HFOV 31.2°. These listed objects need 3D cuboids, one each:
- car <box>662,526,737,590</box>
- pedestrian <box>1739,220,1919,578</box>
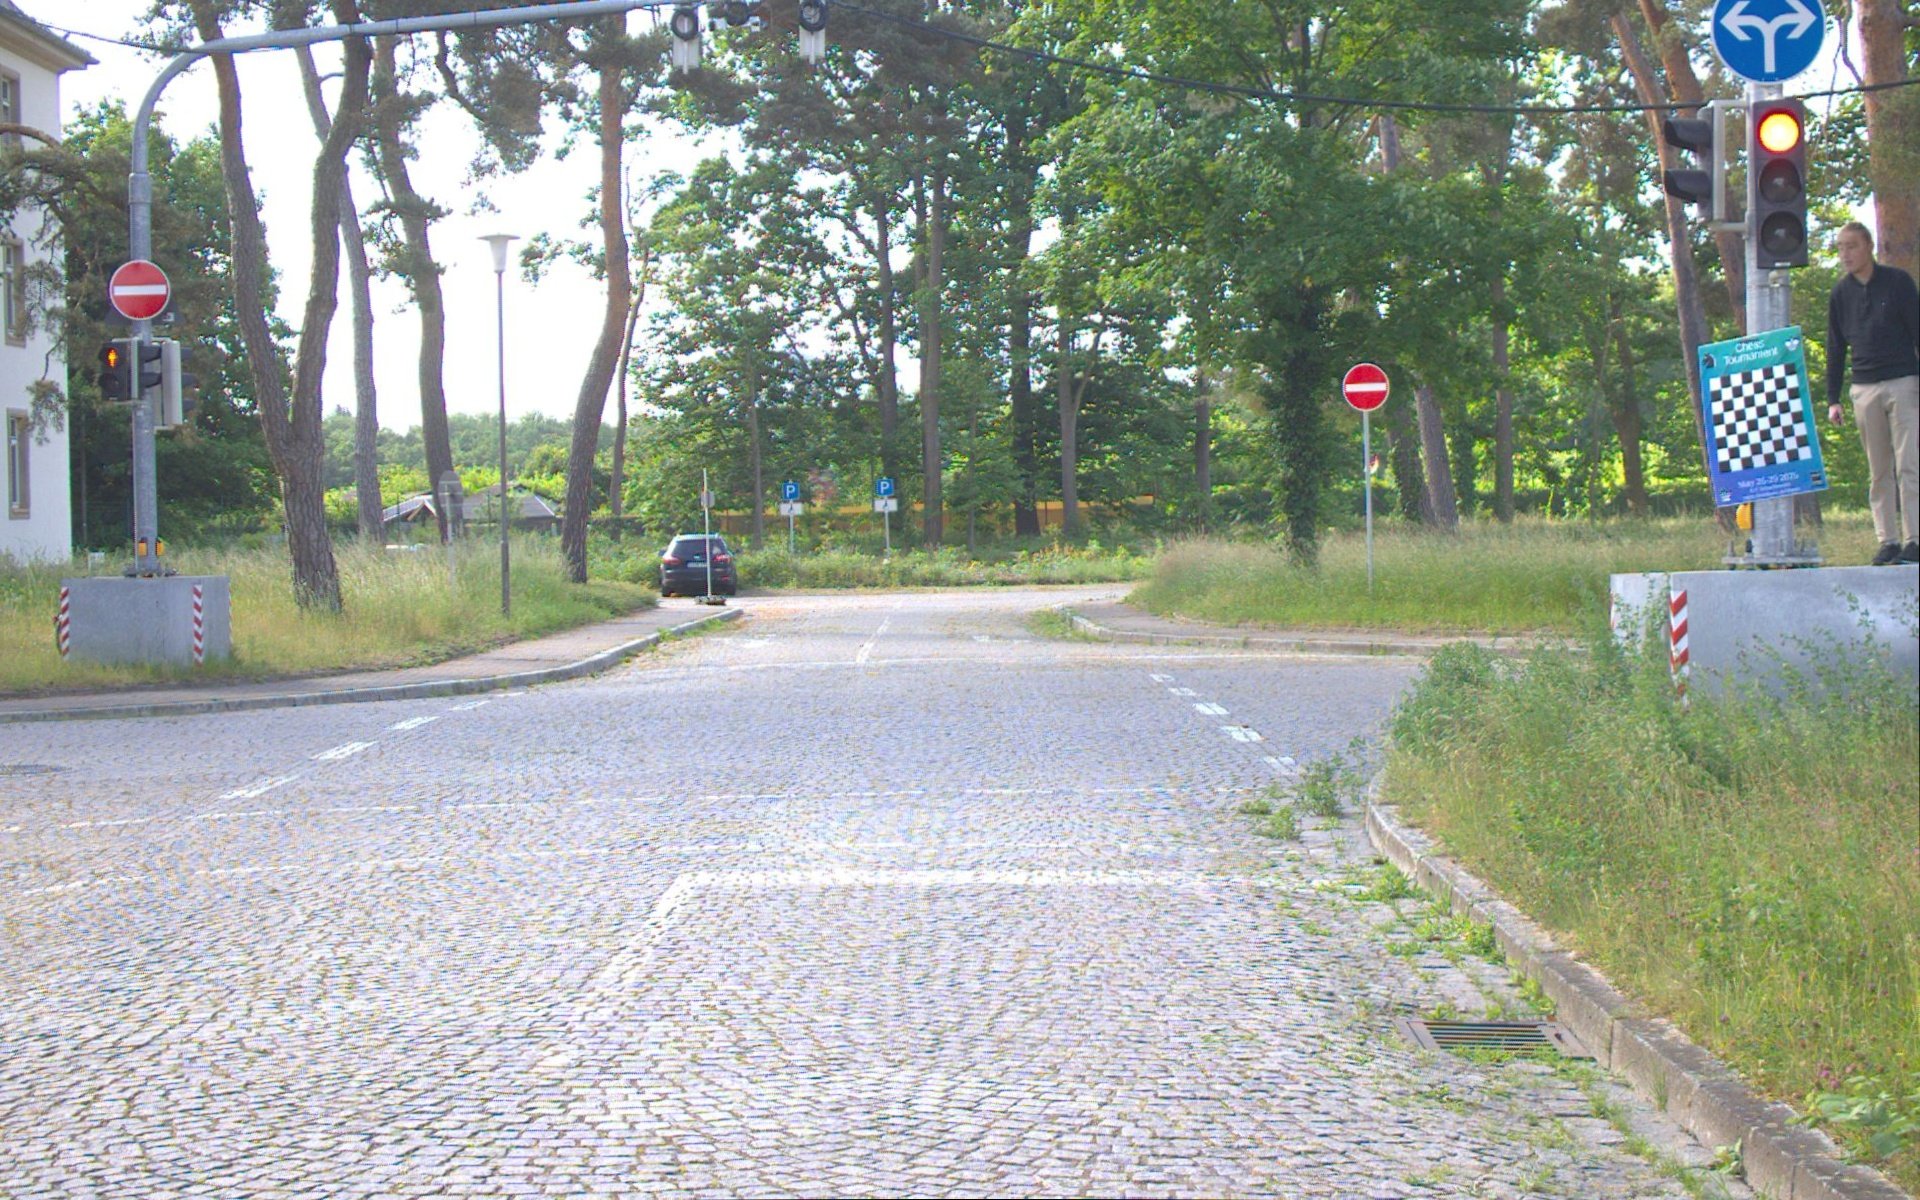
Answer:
[{"bbox_3d":[-6.478,-1.063,85.711,1.709,1.491,3.919,-1,1,-2],"label":"car"},{"bbox_3d":[4.822,-1.037,17.957,1.170,1.790,1.061,-1,2,29],"label":"pedestrian"}]
